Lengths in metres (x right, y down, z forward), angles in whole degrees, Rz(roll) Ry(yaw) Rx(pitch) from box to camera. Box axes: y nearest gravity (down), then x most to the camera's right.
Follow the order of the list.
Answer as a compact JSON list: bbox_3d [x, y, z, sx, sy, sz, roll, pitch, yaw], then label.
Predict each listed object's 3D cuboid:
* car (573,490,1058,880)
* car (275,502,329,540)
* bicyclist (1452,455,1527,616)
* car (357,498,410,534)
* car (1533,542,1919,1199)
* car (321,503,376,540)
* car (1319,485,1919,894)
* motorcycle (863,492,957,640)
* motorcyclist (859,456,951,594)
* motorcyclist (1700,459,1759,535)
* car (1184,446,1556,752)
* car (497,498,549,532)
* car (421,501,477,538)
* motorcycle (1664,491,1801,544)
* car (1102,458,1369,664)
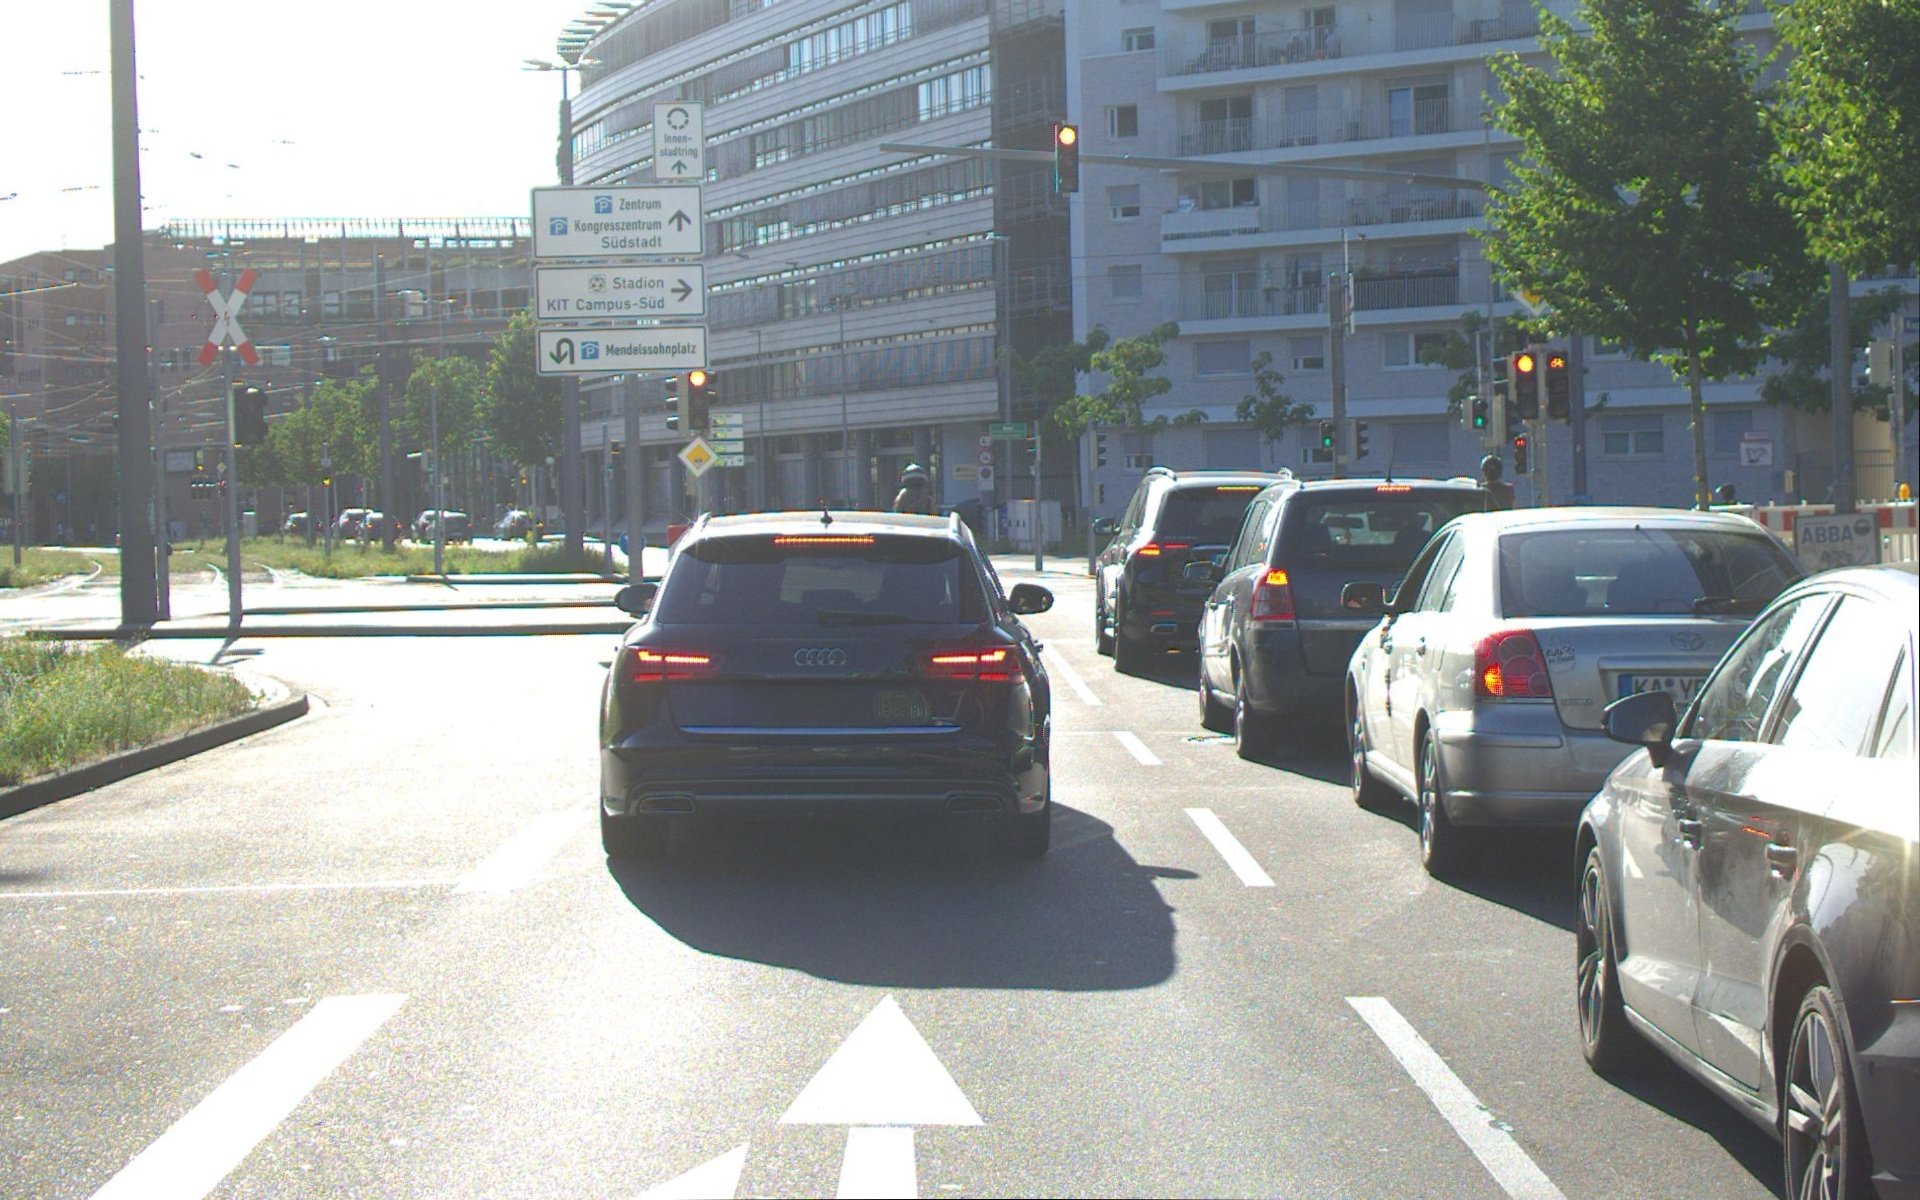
[{"bbox_3d":[-0.583,0.264,15.135,1.842,1.449,4.001,0,2,-1],"label":"car"},{"bbox_3d":[-31.696,-3.782,165.520,1.993,1.700,4.001,-2,1,-18],"label":"car"},{"bbox_3d":[5.495,-0.683,35.731,0.654,1.637,0.972,-1,2,3],"label":"bicyclist"},{"bbox_3d":[-26.874,-3.906,160.227,1.993,1.590,4.001,-2,1,-15],"label":"car"},{"bbox_3d":[2.419,0.595,7.421,1.746,1.387,4.264,0,2,1],"label":"car"},{"bbox_3d":[-29.546,-3.780,166.083,1.993,1.700,4.001,-2,1,-18],"label":"car"},{"bbox_3d":[2.673,0.261,14.959,1.746,1.476,4.629,-1,2,0],"label":"car"},{"bbox_3d":[-0.481,-0.346,33.527,0.862,1.388,1.894,-1,2,0],"label":"motorcycle"},{"bbox_3d":[-0.535,-0.732,33.511,0.862,1.322,0.681,-1,2,0],"label":"motorcyclist"},{"bbox_3d":[15.203,-2.034,67.959,0.925,1.476,1.172,-1,2,2],"label":"motorcyclist"},{"bbox_3d":[2.405,-0.067,21.113,1.746,1.690,4.261,0,2,0],"label":"car"},{"bbox_3d":[-21.651,-4.216,170.292,1.993,1.590,4.001,-2,1,-15],"label":"car"},{"bbox_3d":[-23.485,-3.669,157.866,1.993,1.590,4.001,-2,1,-15],"label":"car"},{"bbox_3d":[15.259,-1.635,67.974,2.453,0.997,1.172,-1,2,2],"label":"motorcycle"},{"bbox_3d":[2.406,-0.411,31.108,2.003,1.709,4.373,0,2,-1],"label":"car"}]
